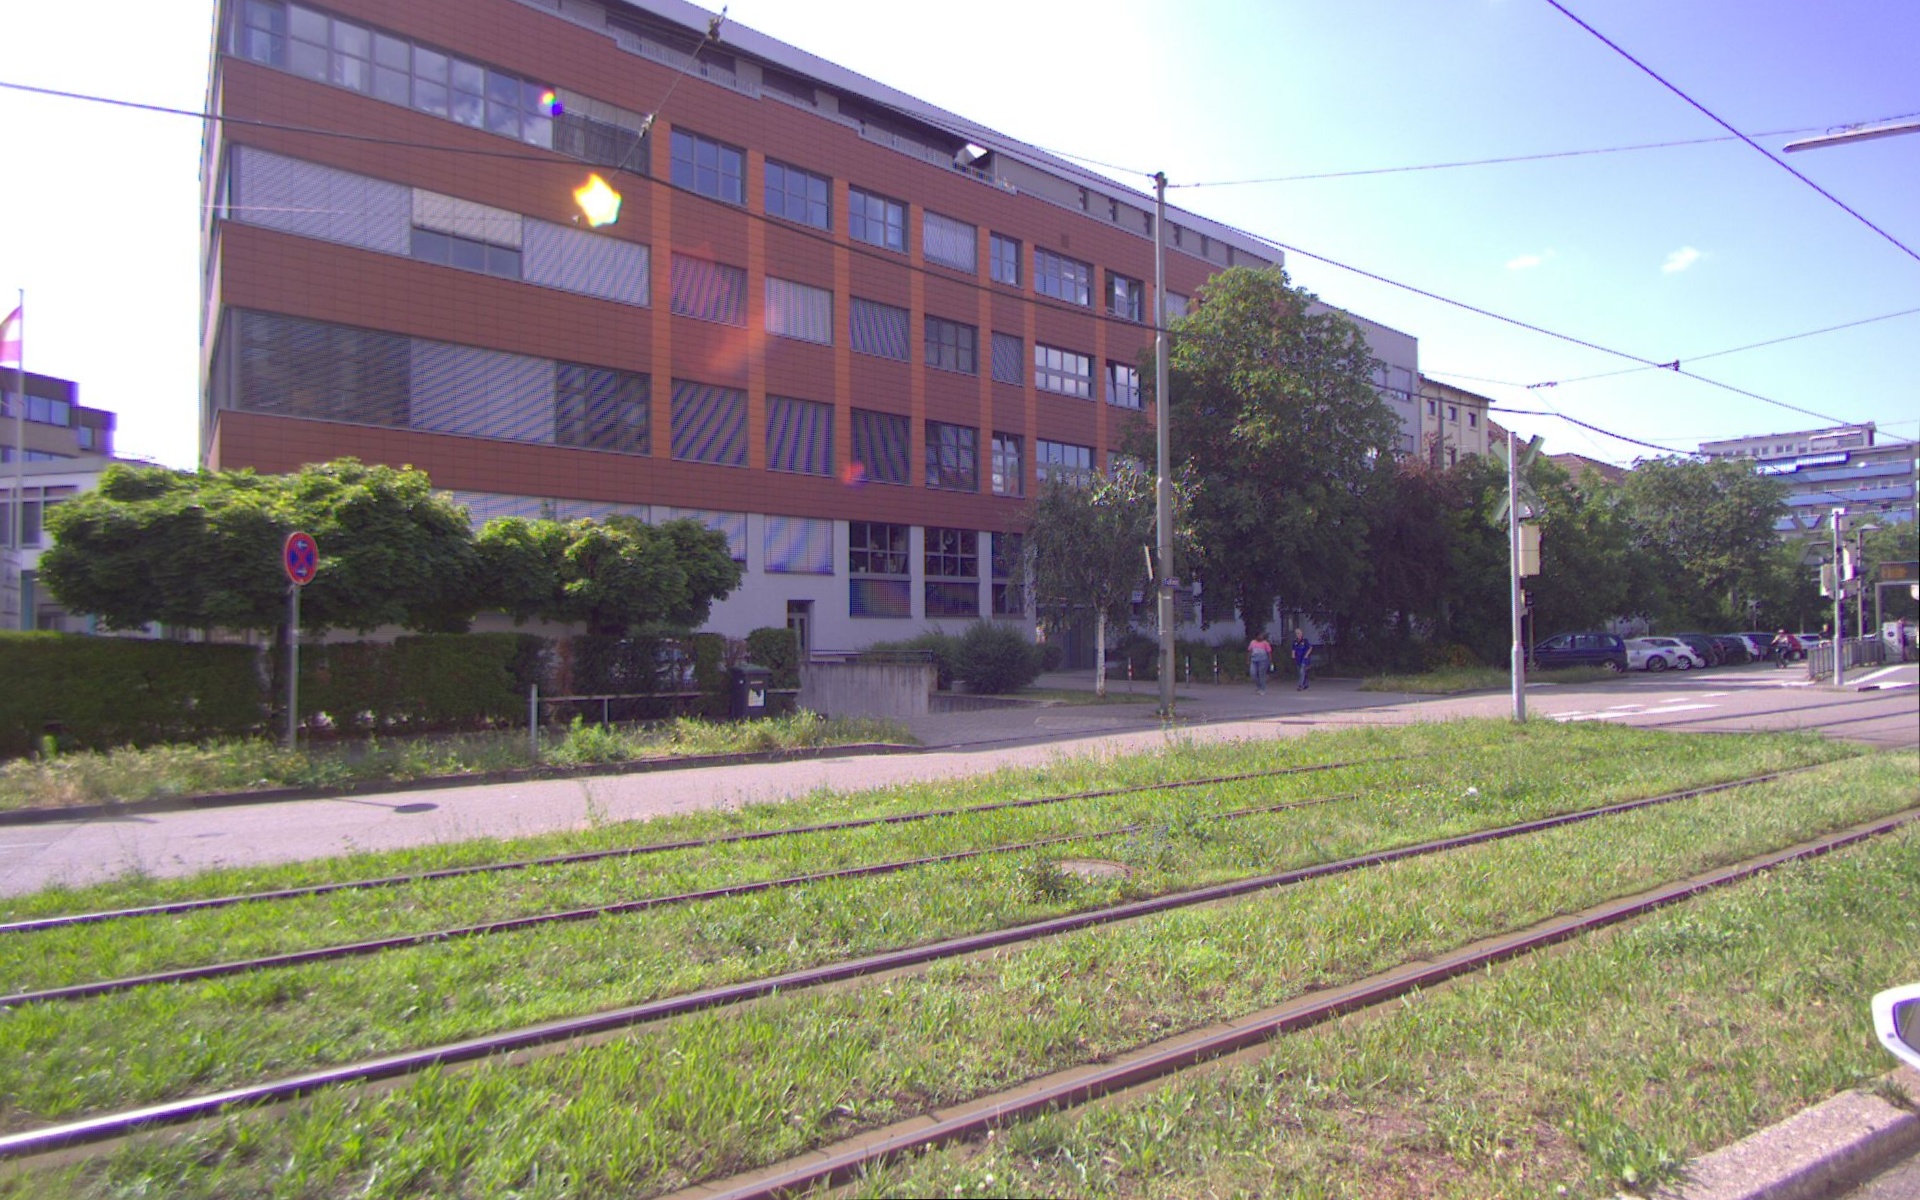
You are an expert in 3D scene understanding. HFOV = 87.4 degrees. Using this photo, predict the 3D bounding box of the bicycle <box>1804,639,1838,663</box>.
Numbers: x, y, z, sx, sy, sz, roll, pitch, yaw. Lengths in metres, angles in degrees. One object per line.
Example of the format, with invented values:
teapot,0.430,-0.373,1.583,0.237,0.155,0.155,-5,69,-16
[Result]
bicycle,44.360,2.633,51.742,1.143,1.193,1.776,-4,-5,45

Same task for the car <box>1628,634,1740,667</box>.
car,34.169,2.378,47.494,3.919,1.475,1.692,-2,-3,12

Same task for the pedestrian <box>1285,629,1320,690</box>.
pedestrian,9.628,1.659,28.250,0.738,1.678,0.554,1,-2,-30

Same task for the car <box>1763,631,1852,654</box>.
car,53.439,2.707,63.398,3.919,1.385,1.718,-1,-3,11

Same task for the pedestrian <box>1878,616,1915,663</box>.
pedestrian,34.788,1.464,37.315,0.654,1.749,0.715,-1,-2,4

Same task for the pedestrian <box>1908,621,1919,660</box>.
pedestrian,38.760,1.625,40.424,0.678,1.590,0.660,0,-3,-30

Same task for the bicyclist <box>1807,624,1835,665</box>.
bicyclist,44.346,2.316,51.737,0.938,2.039,1.567,-3,-5,44

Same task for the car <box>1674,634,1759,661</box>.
car,38.756,2.429,51.532,3.181,1.326,1.457,-1,-2,4

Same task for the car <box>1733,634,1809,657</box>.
car,47.986,2.680,59.447,3.181,1.326,1.457,-1,-2,6

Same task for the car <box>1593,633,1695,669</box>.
car,29.876,2.227,43.972,3.320,1.525,1.545,-1,-2,14

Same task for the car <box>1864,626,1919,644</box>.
car,76.971,2.861,82.285,3.920,1.466,1.729,-1,-2,18

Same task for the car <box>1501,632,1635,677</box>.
car,23.273,2.072,38.589,4.049,1.662,1.727,-1,-2,13

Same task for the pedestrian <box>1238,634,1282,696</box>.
pedestrian,7.935,1.713,26.568,0.879,1.594,0.742,2,-3,-30

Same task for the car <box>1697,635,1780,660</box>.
car,41.264,2.509,53.277,3.181,1.326,1.457,-1,-2,6

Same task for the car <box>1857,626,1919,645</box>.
car,73.124,2.797,78.736,3.919,1.404,1.640,-1,-2,7

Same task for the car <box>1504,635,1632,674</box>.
car,24.474,2.198,40.552,4.049,1.519,1.727,-1,-2,13

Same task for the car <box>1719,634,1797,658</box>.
car,45.528,2.629,57.371,3.181,1.326,1.457,-1,-2,6

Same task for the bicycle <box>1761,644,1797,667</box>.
bicycle,37.775,2.553,46.327,2.156,0.983,0.676,1,-3,-35

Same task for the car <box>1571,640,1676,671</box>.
car,27.720,2.317,42.039,3.320,1.252,1.545,-1,-2,13

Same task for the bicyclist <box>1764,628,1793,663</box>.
bicyclist,37.755,2.099,46.333,0.855,1.602,0.780,1,-3,-35
